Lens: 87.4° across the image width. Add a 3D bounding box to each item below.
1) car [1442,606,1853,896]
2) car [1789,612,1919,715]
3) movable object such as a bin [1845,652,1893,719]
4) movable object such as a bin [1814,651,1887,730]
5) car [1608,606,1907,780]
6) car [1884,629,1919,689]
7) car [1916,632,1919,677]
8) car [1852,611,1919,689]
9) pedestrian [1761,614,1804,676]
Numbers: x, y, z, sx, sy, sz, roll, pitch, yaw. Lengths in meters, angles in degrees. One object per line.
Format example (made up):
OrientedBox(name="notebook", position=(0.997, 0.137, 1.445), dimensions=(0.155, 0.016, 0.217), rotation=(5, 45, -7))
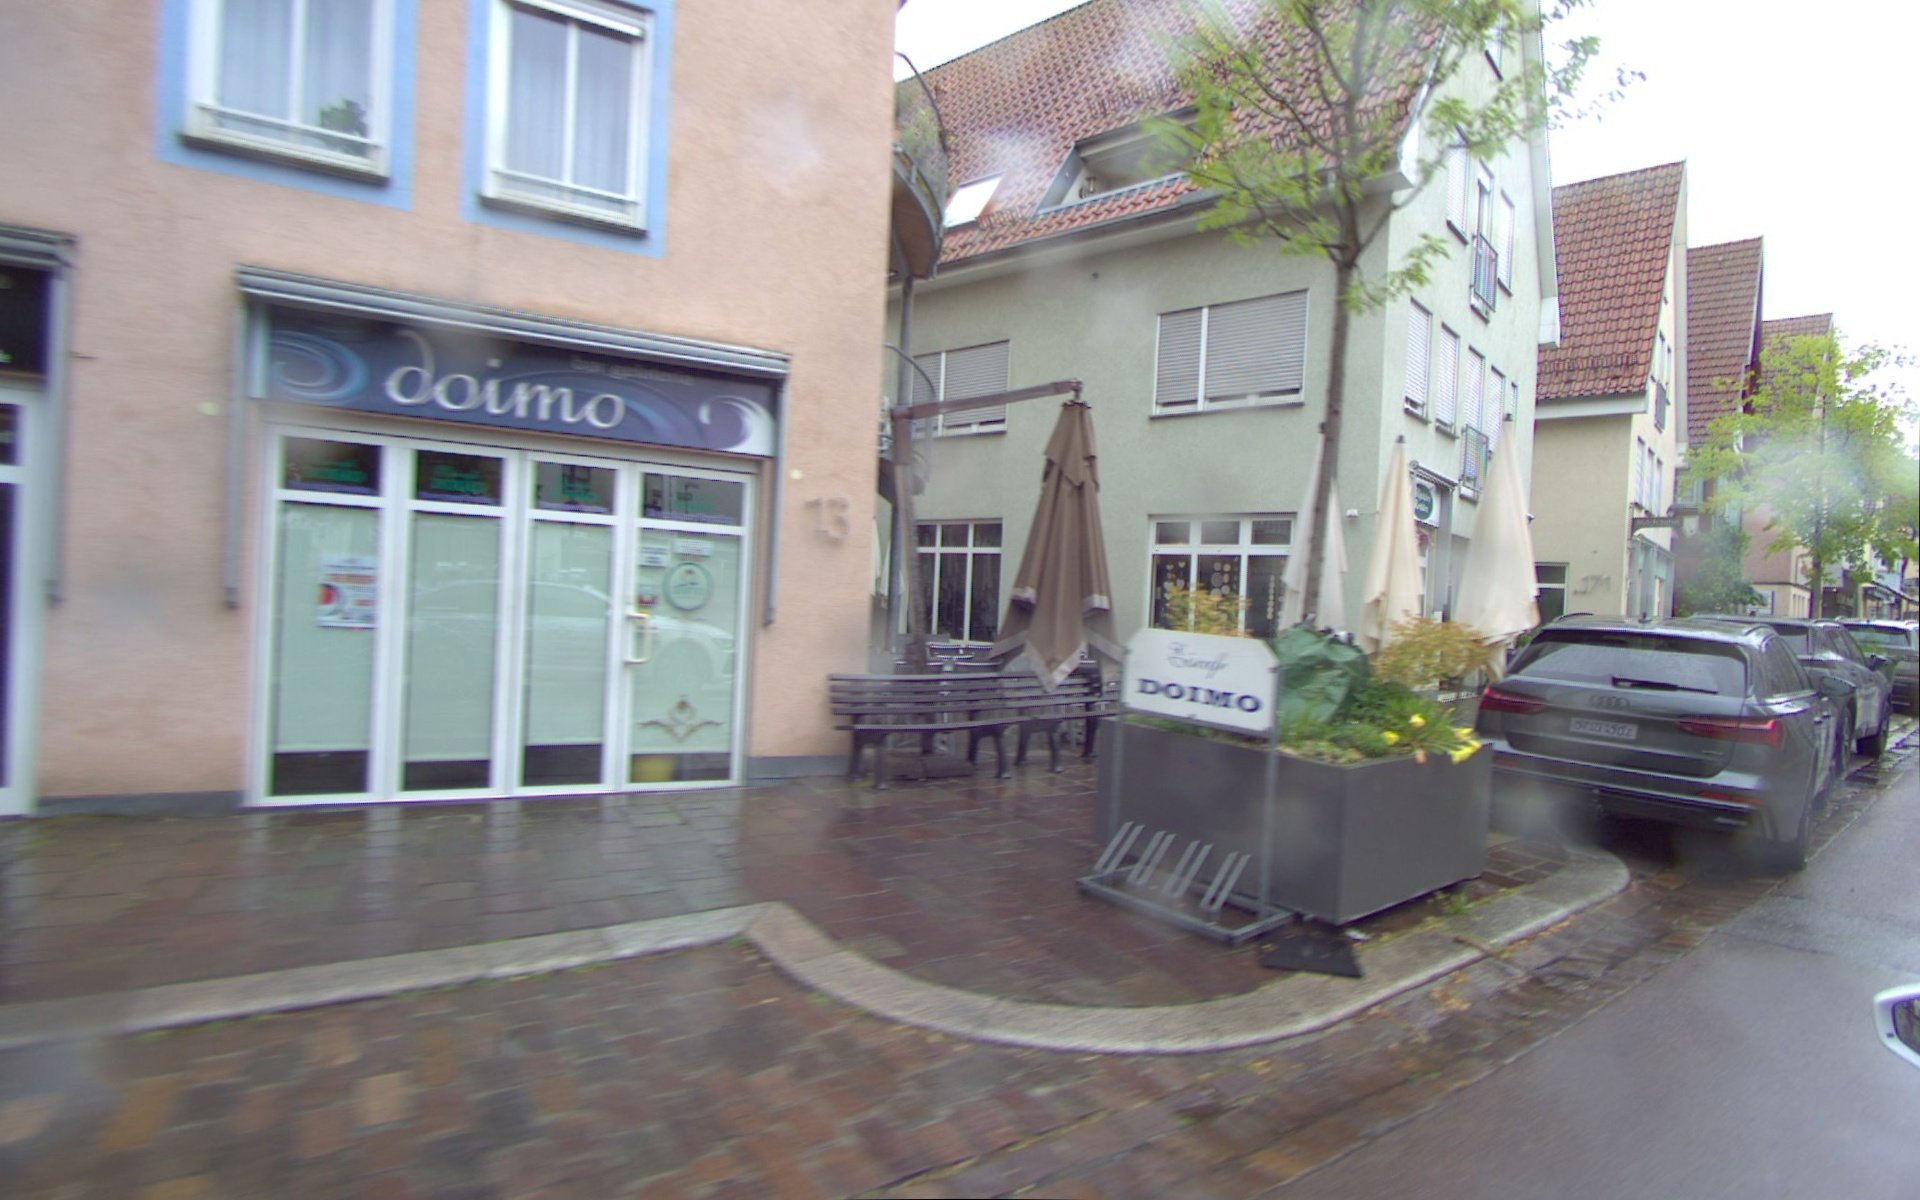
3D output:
OrientedBox(name="car", position=(5.432, 0.861, 7.628), dimensions=(1.842, 1.461, 4.592), rotation=(3, 1, 43))
OrientedBox(name="car", position=(17.670, 1.237, 19.438), dimensions=(4.609, 1.688, 1.807), rotation=(5, -1, -42))
OrientedBox(name="movable object such as a bin", position=(15.284, 1.429, 16.890), dimensions=(0.545, 1.060, 0.532), rotation=(4, 0, 44))
OrientedBox(name="movable object such as a bin", position=(13.562, 1.369, 15.293), dimensions=(0.739, 1.097, 0.739), rotation=(4, 0, -44))
OrientedBox(name="car", position=(9.367, 0.962, 11.675), dimensions=(4.293, 1.545, 1.846), rotation=(2, 2, -40))
OrientedBox(name="car", position=(27.337, 1.651, 28.141), dimensions=(4.260, 1.559, 1.762), rotation=(1, 2, -43))
OrientedBox(name="car", position=(35.308, 1.982, 35.534), dimensions=(4.087, 1.559, 1.677), rotation=(2, 2, -41))
OrientedBox(name="car", position=(22.966, 1.269, 24.076), dimensions=(4.609, 1.688, 1.807), rotation=(5, -1, -42))
OrientedBox(name="pedestrian", position=(23.806, 1.315, 29.079), dimensions=(0.780, 1.703, 1.169), rotation=(4, 0, 45))
